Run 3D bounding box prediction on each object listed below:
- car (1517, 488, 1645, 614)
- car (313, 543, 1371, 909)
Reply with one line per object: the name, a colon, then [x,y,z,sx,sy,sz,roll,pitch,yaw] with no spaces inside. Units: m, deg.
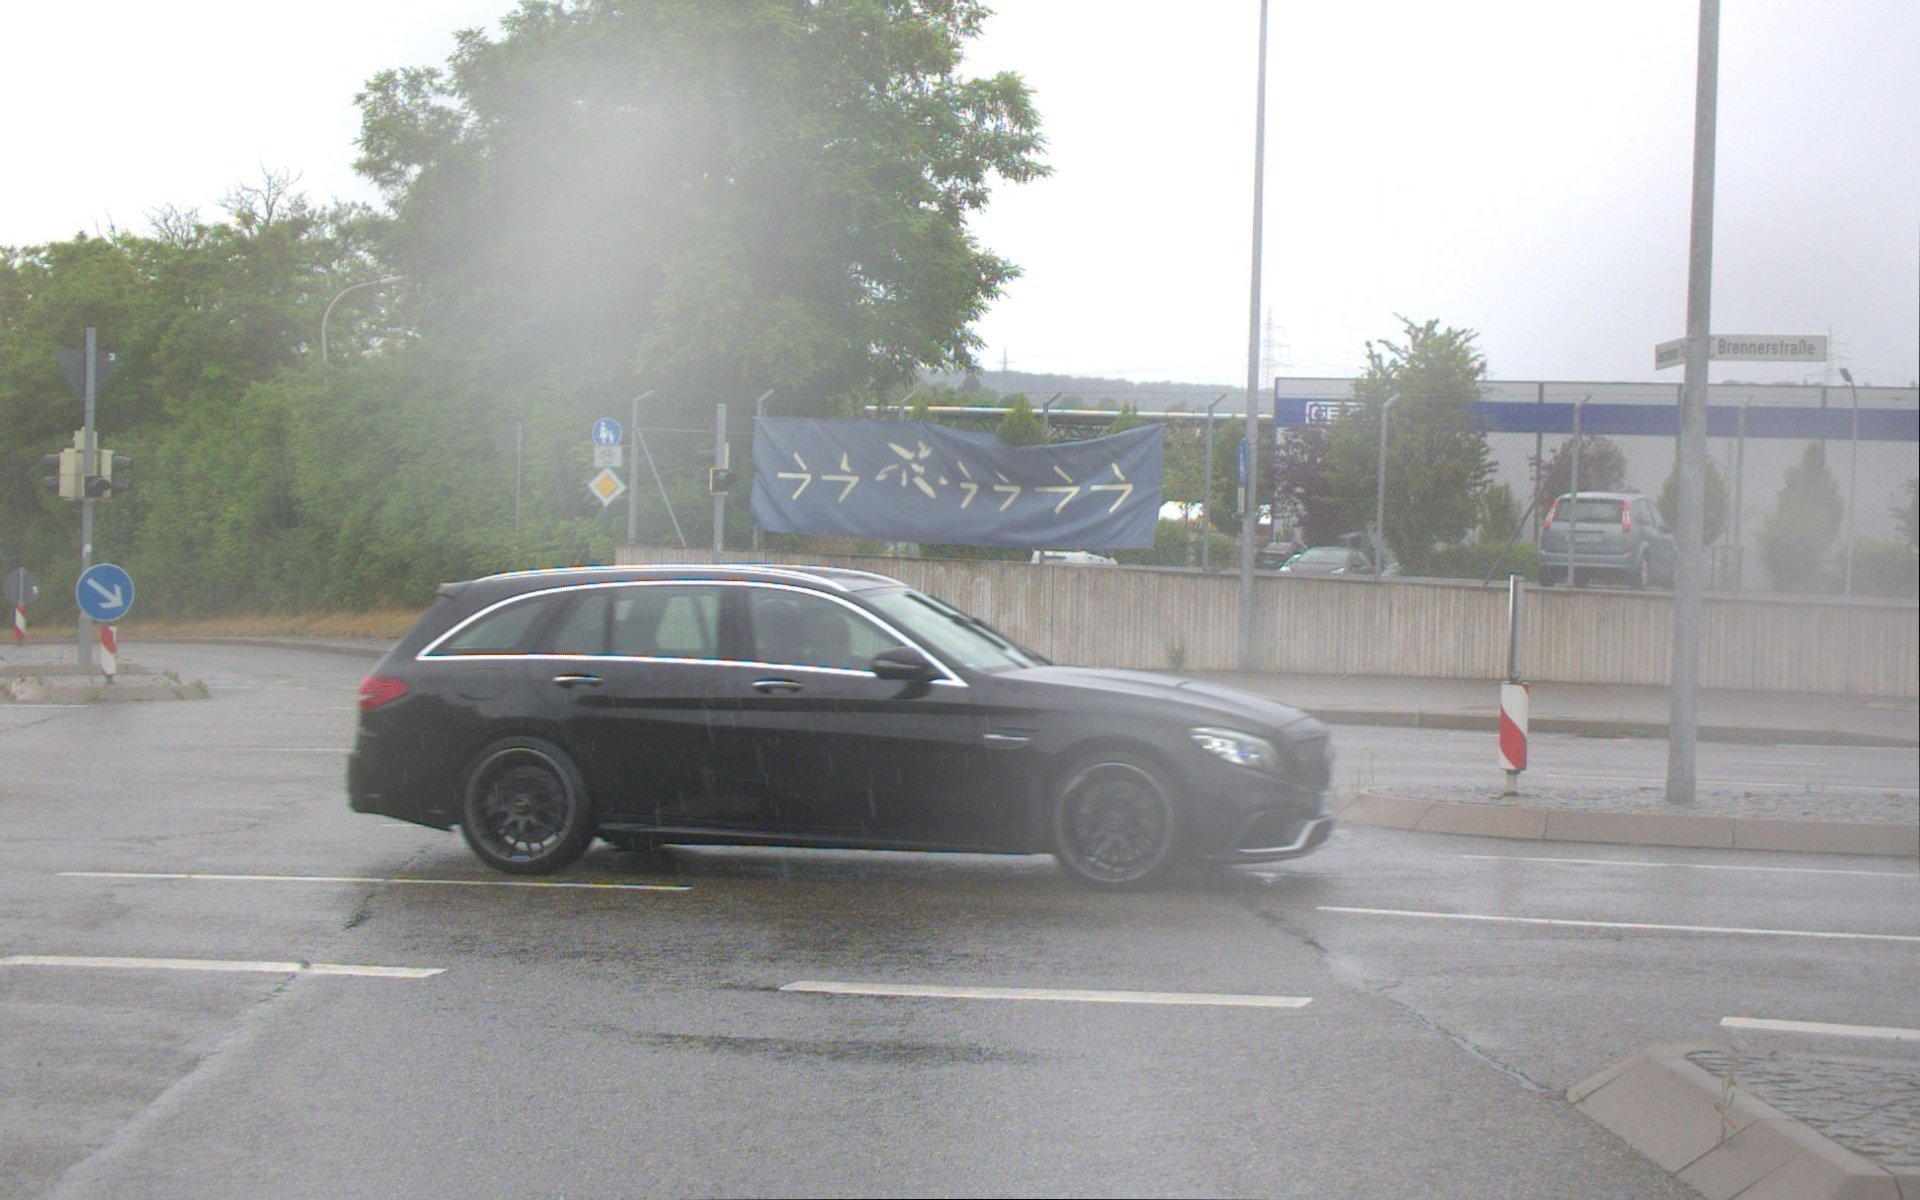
car: [10.446,-0.831,57.700,1.994,2.007,3.998,1,1,11]
car: [-0.514,0.522,16.489,4.662,1.471,1.999,2,1,15]
